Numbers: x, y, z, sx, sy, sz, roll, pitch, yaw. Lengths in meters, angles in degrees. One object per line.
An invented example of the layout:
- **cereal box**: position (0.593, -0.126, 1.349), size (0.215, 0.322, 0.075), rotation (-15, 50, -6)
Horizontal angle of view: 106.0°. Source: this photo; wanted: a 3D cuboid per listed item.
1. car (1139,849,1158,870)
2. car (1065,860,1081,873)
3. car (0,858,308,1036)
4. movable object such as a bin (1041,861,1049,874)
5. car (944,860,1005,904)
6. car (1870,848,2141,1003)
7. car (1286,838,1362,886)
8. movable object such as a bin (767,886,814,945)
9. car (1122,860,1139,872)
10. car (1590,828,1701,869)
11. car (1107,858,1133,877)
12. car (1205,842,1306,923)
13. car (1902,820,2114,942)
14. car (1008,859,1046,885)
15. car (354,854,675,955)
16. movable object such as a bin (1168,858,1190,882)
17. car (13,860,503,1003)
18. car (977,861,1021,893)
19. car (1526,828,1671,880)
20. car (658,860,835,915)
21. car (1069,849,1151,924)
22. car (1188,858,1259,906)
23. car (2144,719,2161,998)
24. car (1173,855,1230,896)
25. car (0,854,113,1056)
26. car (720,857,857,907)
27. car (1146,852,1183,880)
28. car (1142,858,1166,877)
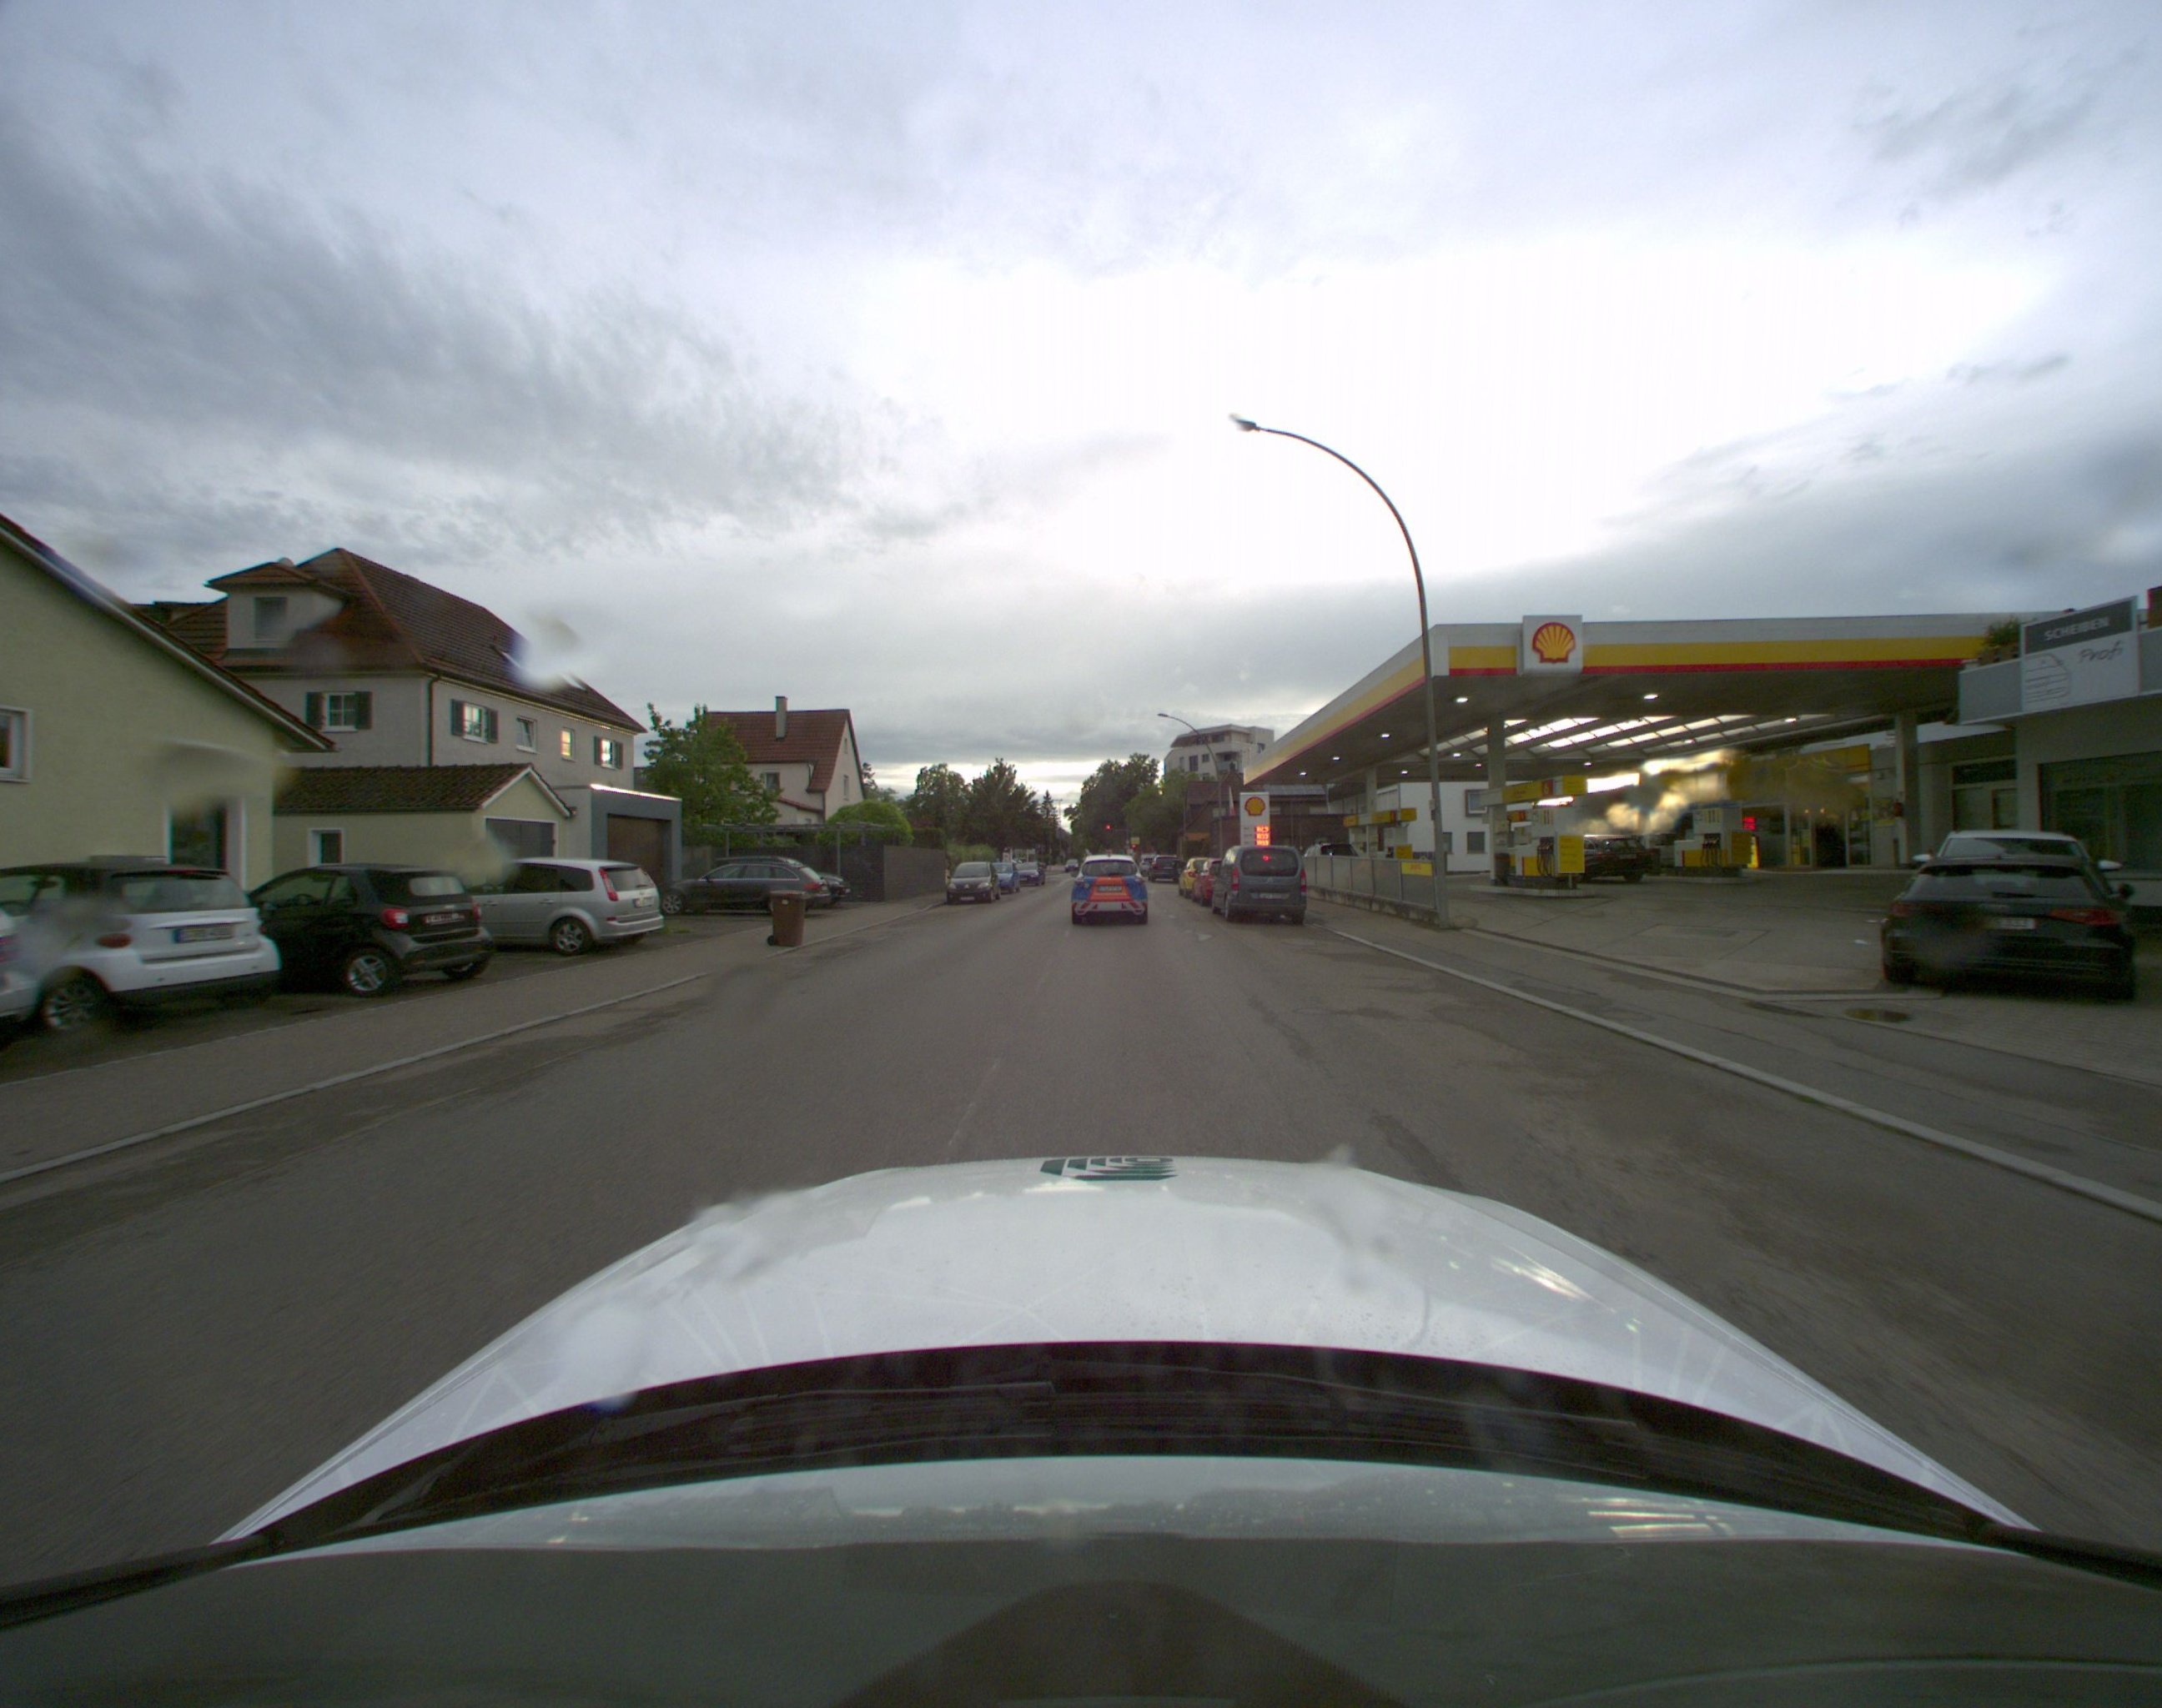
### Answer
- **car**: position (6.520, 0.503, 79.102), size (1.769, 2.029, 4.760), rotation (0, 1, 5)
- **car**: position (-0.913, 1.416, 95.395), size (1.619, 1.433, 3.687), rotation (-1, 0, 4)
- **car**: position (-10.605, 0.853, 8.047), size (4.073, 1.532, 1.812), rotation (-1, 0, -2)
- **movable object such as a bin**: position (-3.286, 1.251, 74.335), size (0.705, 1.130, 0.736), rotation (0, -1, 2)
- **car**: position (-3.961, 1.010, 30.725), size (1.602, 1.506, 3.709), rotation (-2, 0, 2)
- **car**: position (10.614, 0.645, 9.339), size (4.020, 1.374, 1.759), rotation (-1, 0, -39)
- **car**: position (9.650, 0.319, 32.660), size (1.814, 1.759, 3.999), rotation (-1, 0, 0)
- **movable object such as a bin**: position (-5.714, 1.203, 16.056), size (0.593, 1.057, 0.687), rotation (4, 1, 2)
- **car**: position (6.041, 1.458, 100.431), size (1.789, 1.428, 3.998), rotation (0, 1, -1)
- **car**: position (21.692, -0.203, 31.490), size (1.733, 1.466, 3.781), rotation (-1, 0, 2)
- **car**: position (3.459, 1.161, 71.468), size (1.983, 1.574, 4.009), rotation (0, 1, 7)
- **car**: position (4.194, 0.630, 20.185), size (1.650, 1.738, 4.446), rotation (1, 0, 2)
- **car**: position (14.712, 0.359, 13.182), size (4.386, 1.641, 1.975), rotation (0, 0, -45)
- **car**: position (-3.205, 1.049, 49.221), size (1.800, 1.403, 3.947), rotation (-2, 0, 2)
- **car**: position (-9.484, 0.801, 13.938), size (4.076, 1.513, 1.881), rotation (-1, 0, -4)
- **movable object such as a bin**: position (5.841, 0.921, 48.464), size (1.123, 1.388, 1.503), rotation (-1, 0, 0)
- **car**: position (-9.886, 0.865, 10.089), size (4.076, 1.503, 1.754), rotation (-1, 0, -4)
- **car**: position (-3.838, 1.056, 38.789), size (1.540, 1.403, 3.599), rotation (-2, 0, 2)
- **car**: position (16.207, 0.001, 25.826), size (1.733, 1.466, 4.675), rotation (-1, 0, 2)
- **car**: position (-8.937, 0.880, 22.013), size (4.075, 1.414, 1.712), rotation (0, 0, -3)
- **car**: position (0.713, 0.699, 19.655), size (1.739, 1.581, 4.002), rotation (-1, 0, 2)
- **car**: position (4.417, 0.816, 25.796), size (1.650, 1.376, 4.026), rotation (-1, 0, 2)
- **car**: position (12.335, 0.000, 7.202), size (4.805, 2.520, 2.232), rotation (-1, 0, -20)
- **car**: position (4.448, 0.761, 30.499), size (1.650, 1.402, 3.803), rotation (-1, 0, 2)
- **car**: position (-10.226, 0.797, 5.781), size (4.076, 1.532, 1.997), rotation (-1, 0, -4)
- **car**: position (-8.959, 0.854, 25.166), size (3.577, 1.457, 1.755), rotation (1, -1, -3)
- **car**: position (5.263, 0.746, 51.780), size (2.083, 1.662, 4.561), rotation (0, 1, 2)
- **car**: position (6.529, 1.189, 72.936), size (1.858, 1.665, 4.322), rotation (0, 0, 2)
